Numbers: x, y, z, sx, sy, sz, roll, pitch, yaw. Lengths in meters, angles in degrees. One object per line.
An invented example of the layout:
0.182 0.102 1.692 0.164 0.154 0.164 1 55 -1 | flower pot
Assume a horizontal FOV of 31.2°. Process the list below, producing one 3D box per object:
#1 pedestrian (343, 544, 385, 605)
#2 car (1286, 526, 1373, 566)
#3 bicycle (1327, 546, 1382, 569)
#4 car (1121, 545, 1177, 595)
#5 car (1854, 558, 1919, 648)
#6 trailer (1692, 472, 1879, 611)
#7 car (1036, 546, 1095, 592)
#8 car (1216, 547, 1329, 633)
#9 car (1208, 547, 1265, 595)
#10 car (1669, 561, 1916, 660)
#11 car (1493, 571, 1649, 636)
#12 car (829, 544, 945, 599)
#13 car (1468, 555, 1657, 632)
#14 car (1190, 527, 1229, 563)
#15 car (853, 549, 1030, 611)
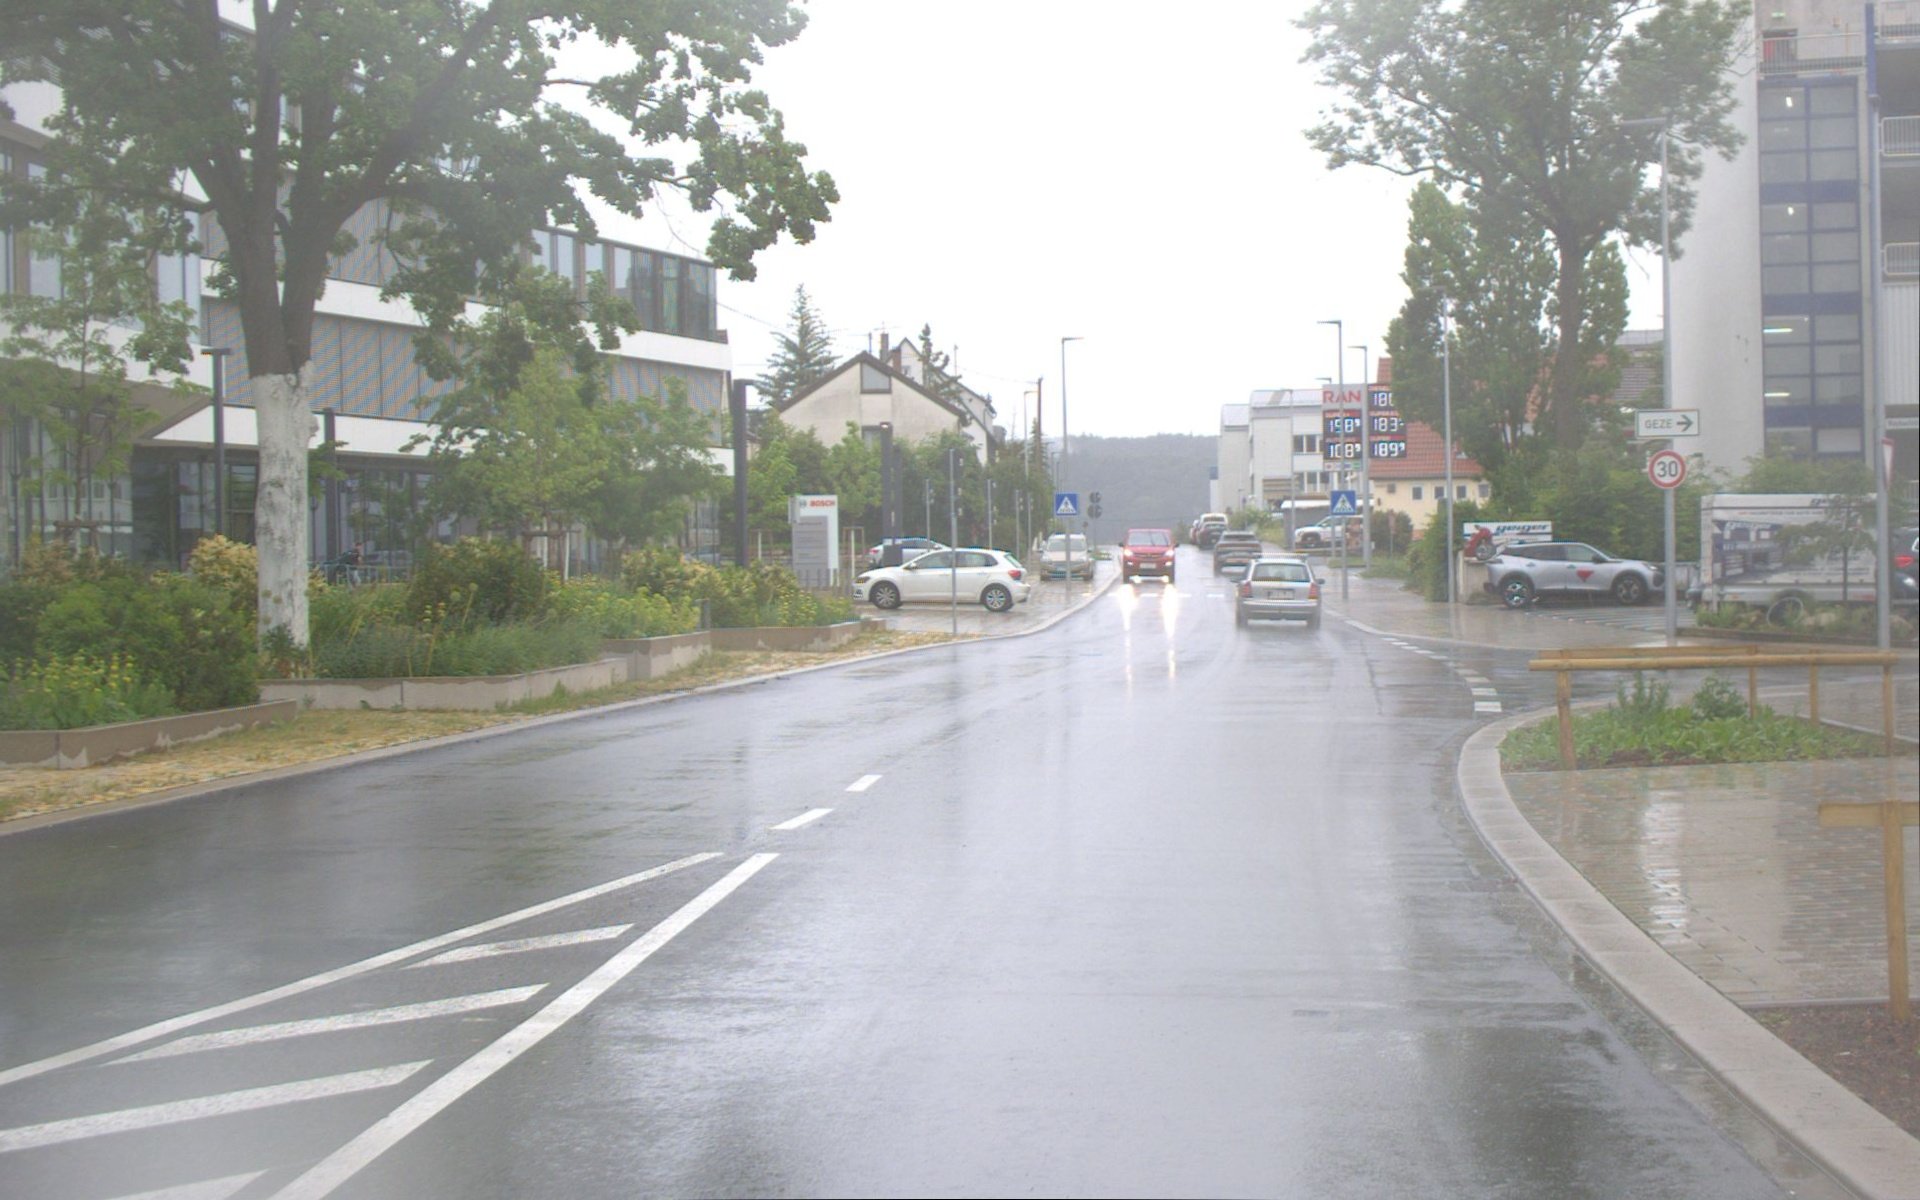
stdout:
-16.776 -0.721 96.825 1.013 1.718 0.772 0 1 1 | pedestrian
18.531 -2.700 172.627 4.112 1.700 1.788 4 -1 1 | car
19.005 -2.035 165.844 0.668 1.063 3.629 4 -1 -27 | bicycle
6.851 -1.083 125.010 2.003 1.811 4.979 0 0 3 | car
18.940 0.038 63.595 4.355 1.646 1.845 0 0 2 | car
13.055 -0.912 54.469 2.702 2.164 1.548 0 0 6 | trailer
3.816 -1.131 123.993 1.994 1.623 4.153 0 1 4 | car
6.404 -0.182 70.785 1.948 1.550 4.000 4 -1 1 | car
11.181 -1.167 139.215 2.154 1.700 3.999 3 -1 4 | car
13.771 0.184 57.006 3.726 1.524 1.650 -1 -1 4 | car
14.869 0.079 83.560 3.623 1.489 1.805 -1 0 13 | car
-3.133 -1.211 146.544 4.752 2.007 2.000 4 -1 -3 | car
14.181 -0.156 80.897 4.210 1.644 1.999 -2 0 14 | car
13.682 -2.998 188.839 1.994 1.700 3.999 3 -1 4 | car
-0.414 -0.455 79.169 3.928 1.418 1.898 0 0 5 | car
